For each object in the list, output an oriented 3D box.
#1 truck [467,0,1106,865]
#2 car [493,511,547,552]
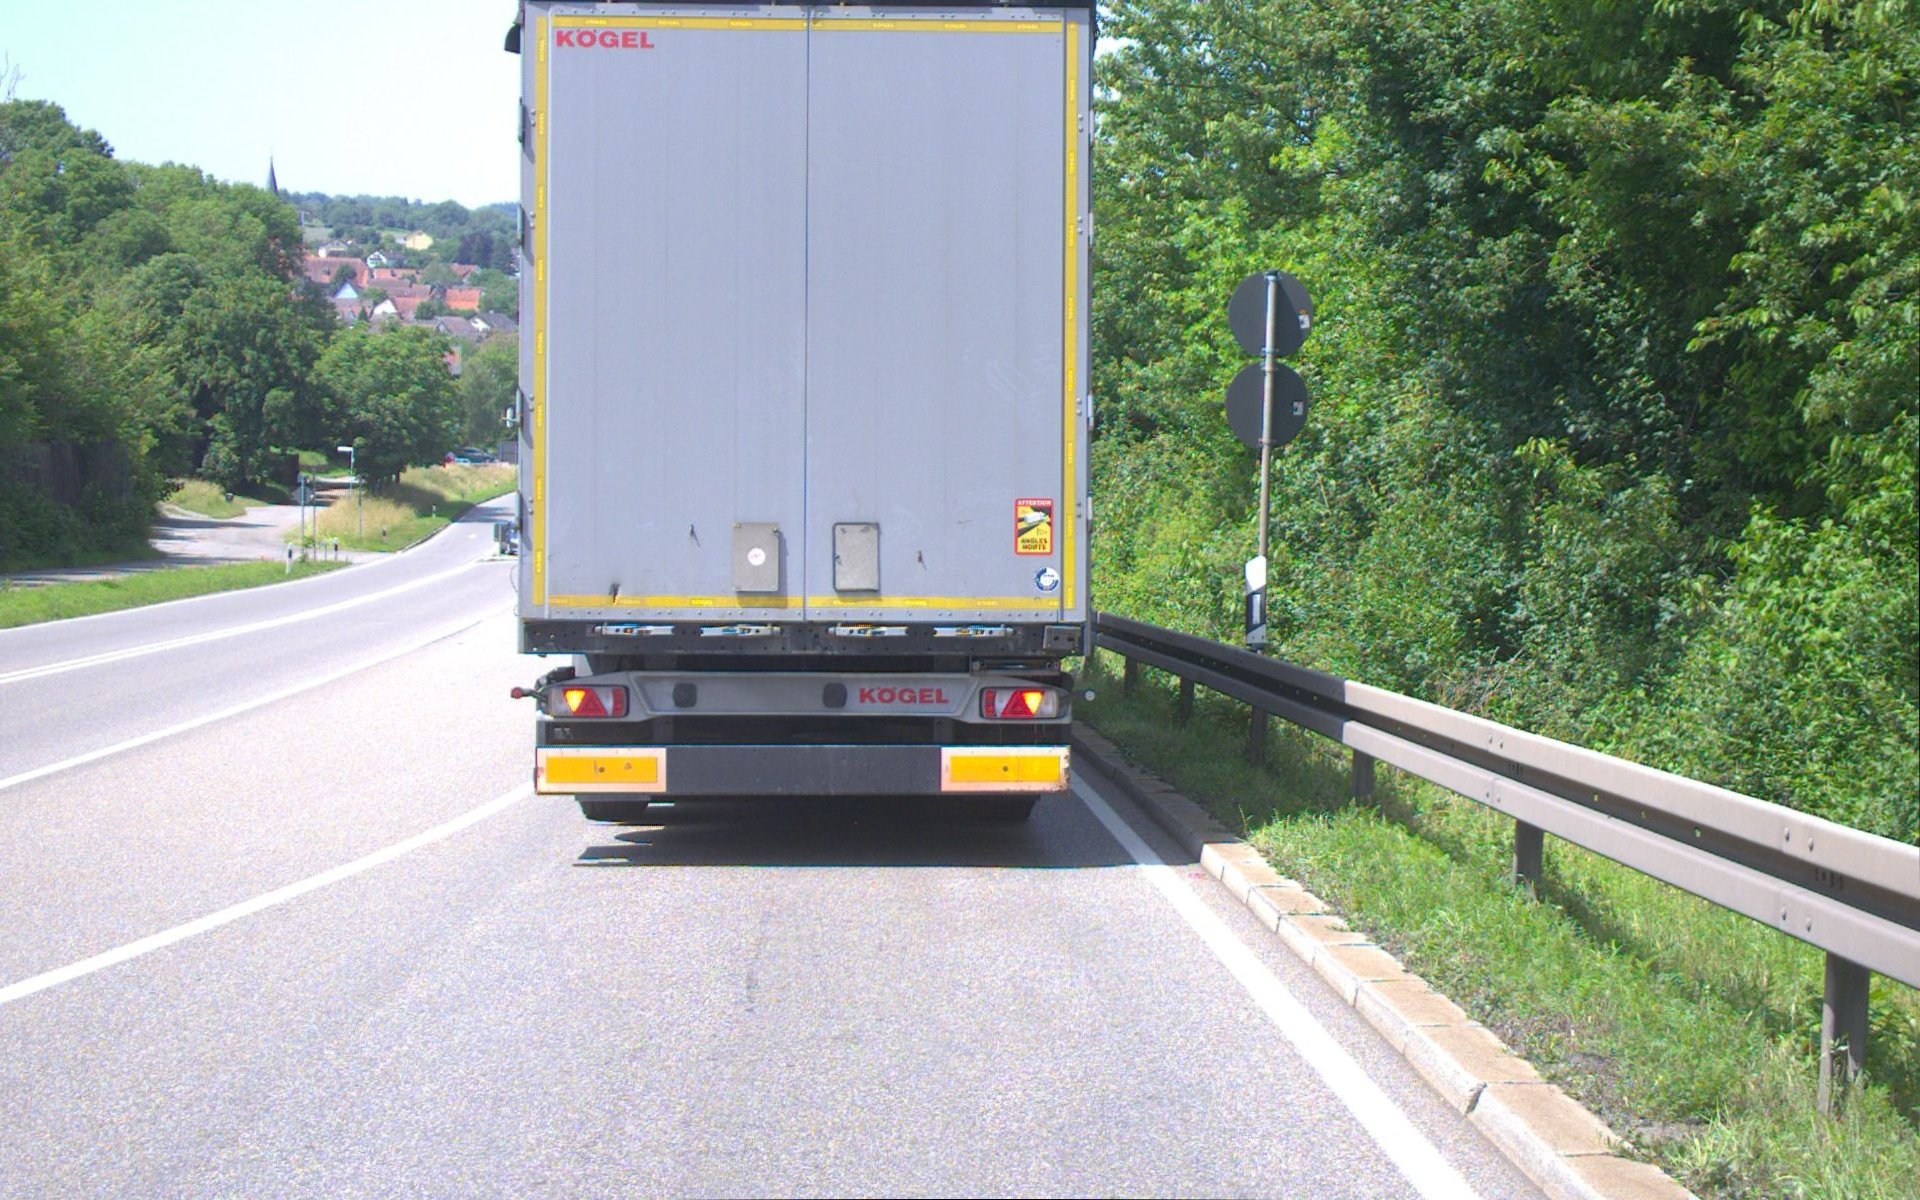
[{"bbox_3d":[-0.823,-0.996,20.897,2.757,4.016,11.925,0,1,-1],"label":"truck"},{"bbox_3d":[-19.440,-3.021,151.810,1.805,1.788,3.843,0,1,-16],"label":"car"}]
